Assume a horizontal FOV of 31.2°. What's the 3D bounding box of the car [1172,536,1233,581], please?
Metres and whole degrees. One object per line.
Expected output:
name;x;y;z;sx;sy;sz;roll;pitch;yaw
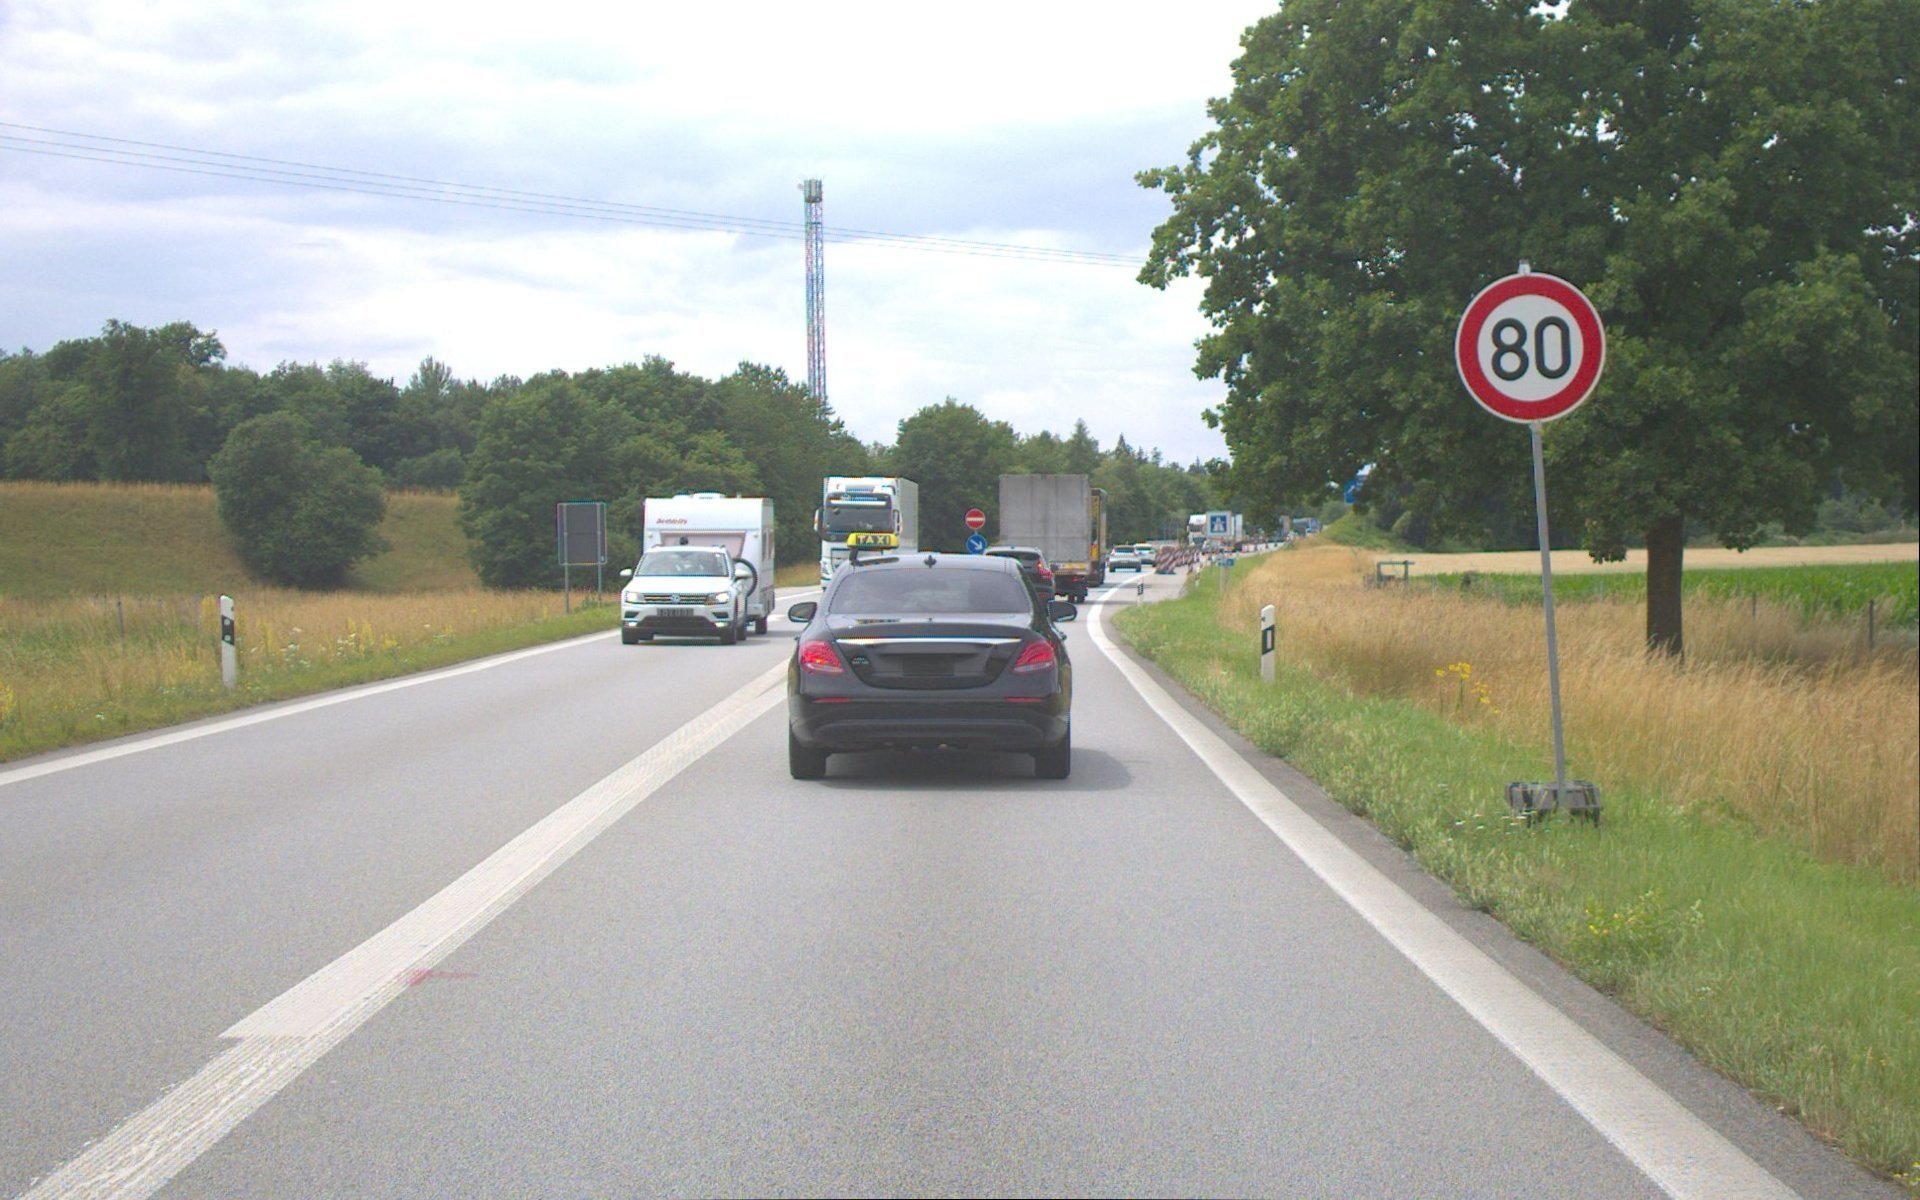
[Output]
car;9.196;-1.561;130.780;1.795;1.657;4.000;1;0;-3

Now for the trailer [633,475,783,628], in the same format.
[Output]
trailer;-4.464;-0.853;61.733;2.182;2.566;6.244;1;0;0

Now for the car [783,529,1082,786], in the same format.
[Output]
car;-0.270;0.342;23.192;1.795;1.554;4.000;1;0;-3

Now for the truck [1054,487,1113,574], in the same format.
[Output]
truck;5.114;-2.852;143.108;1.993;3.513;4.593;1;0;-3

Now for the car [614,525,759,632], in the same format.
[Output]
car;-4.443;-0.357;56.440;2.006;1.652;4.327;1;0;0

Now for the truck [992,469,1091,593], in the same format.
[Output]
truck;2.419;-1.990;100.840;2.587;3.512;4.812;1;0;4

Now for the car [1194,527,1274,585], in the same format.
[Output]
car;8.128;-1.297;102.248;1.795;1.657;4.000;1;0;-3

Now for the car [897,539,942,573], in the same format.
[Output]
car;-1.844;-2.028;158.625;1.857;1.474;5.198;1;0;2

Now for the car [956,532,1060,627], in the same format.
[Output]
car;1.026;-0.461;75.886;1.993;2.007;4.000;1;0;-3

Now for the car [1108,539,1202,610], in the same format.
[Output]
car;4.695;-0.621;83.282;1.795;1.657;4.000;1;0;-3

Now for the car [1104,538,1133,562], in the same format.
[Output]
car;9.766;-3.094;212.180;1.649;1.391;3.706;1;0;1

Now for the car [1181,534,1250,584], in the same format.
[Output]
car;8.691;-1.388;117.097;1.795;1.657;4.000;1;0;-3

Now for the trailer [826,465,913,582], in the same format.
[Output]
trailer;-3.147;-2.717;123.117;2.489;3.982;13.076;0;1;1

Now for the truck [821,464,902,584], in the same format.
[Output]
truck;-3.305;-2.573;116.878;2.489;3.982;5.204;0;1;1
